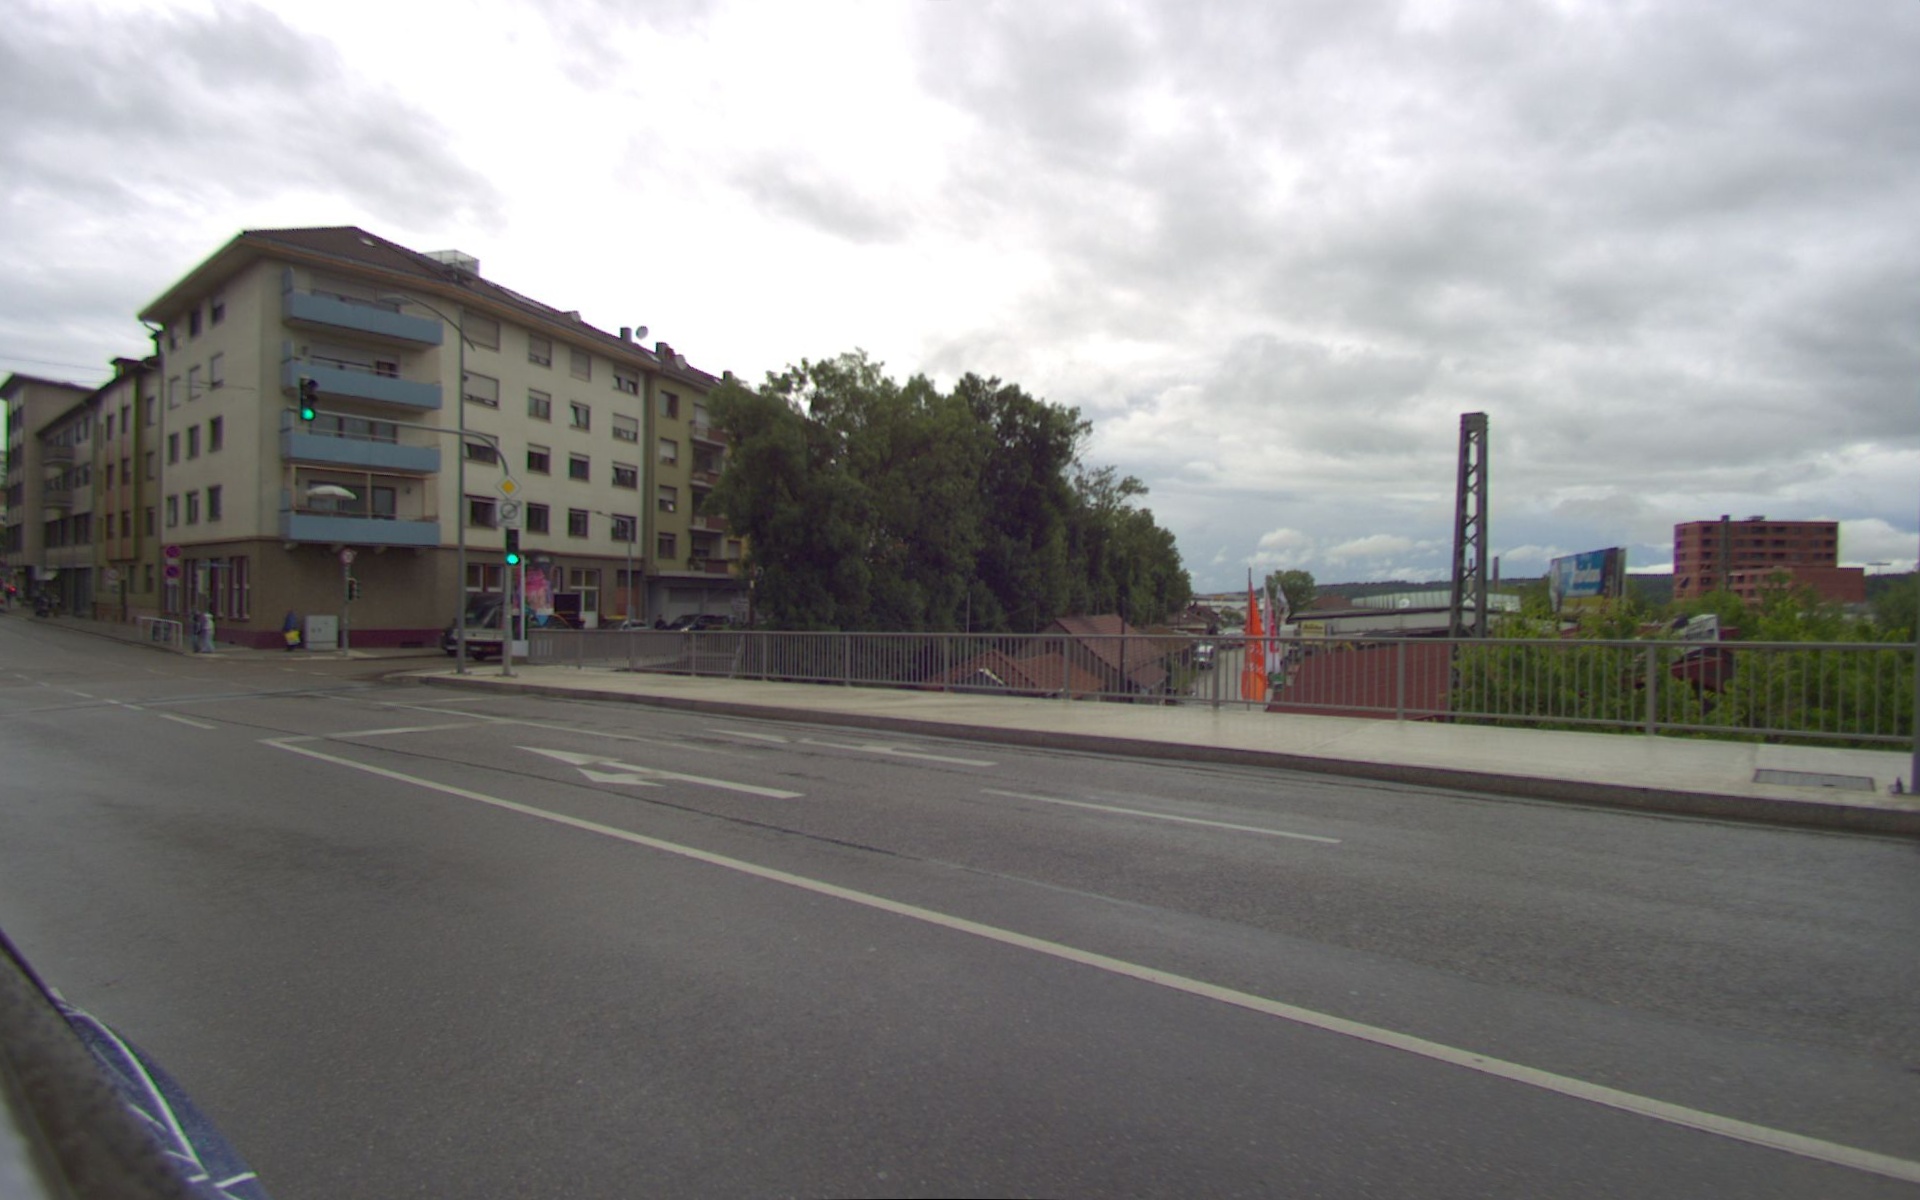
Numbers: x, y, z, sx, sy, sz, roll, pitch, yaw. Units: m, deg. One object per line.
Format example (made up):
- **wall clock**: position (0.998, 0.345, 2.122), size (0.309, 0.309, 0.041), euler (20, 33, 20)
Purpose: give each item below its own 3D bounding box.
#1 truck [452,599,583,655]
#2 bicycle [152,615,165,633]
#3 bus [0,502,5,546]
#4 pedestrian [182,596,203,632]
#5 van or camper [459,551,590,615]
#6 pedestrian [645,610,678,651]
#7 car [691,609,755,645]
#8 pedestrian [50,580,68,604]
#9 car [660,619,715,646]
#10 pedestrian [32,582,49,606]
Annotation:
- **truck**: position (-18.040, 1.041, 41.584), size (2.382, 2.145, 5.296), euler (0, 0, 11)
- **bicycle**: position (-35.995, 1.070, 45.455), size (1.110, 0.789, 0.261), euler (0, 0, 41)
- **bus**: position (-75.622, -5.723, 77.550), size (9.288, 3.212, 2.697), euler (0, 0, 41)
- **pedestrian**: position (-34.168, 0.621, 45.068), size (0.739, 1.565, 0.569), euler (0, 0, 38)
- **van or camper**: position (-19.872, -0.713, 46.648), size (1.982, 2.751, 6.451), euler (0, 0, 15)
- **pedestrian**: position (-13.101, 1.315, 44.419), size (1.050, 1.770, 1.070), euler (0, 0, 6)
- **car**: position (-13.932, 1.547, 59.688), size (1.982, 2.029, 3.980), euler (0, 0, 16)
- **pedestrian**: position (-60.180, -0.525, 67.583), size (0.711, 1.627, 0.828), euler (0, 0, 41)
- **car**: position (-16.169, 1.897, 60.203), size (1.849, 1.510, 3.693), euler (0, 0, 9)
- **pedestrian**: position (-61.061, -0.385, 67.197), size (0.711, 1.546, 0.791), euler (0, 0, 41)
